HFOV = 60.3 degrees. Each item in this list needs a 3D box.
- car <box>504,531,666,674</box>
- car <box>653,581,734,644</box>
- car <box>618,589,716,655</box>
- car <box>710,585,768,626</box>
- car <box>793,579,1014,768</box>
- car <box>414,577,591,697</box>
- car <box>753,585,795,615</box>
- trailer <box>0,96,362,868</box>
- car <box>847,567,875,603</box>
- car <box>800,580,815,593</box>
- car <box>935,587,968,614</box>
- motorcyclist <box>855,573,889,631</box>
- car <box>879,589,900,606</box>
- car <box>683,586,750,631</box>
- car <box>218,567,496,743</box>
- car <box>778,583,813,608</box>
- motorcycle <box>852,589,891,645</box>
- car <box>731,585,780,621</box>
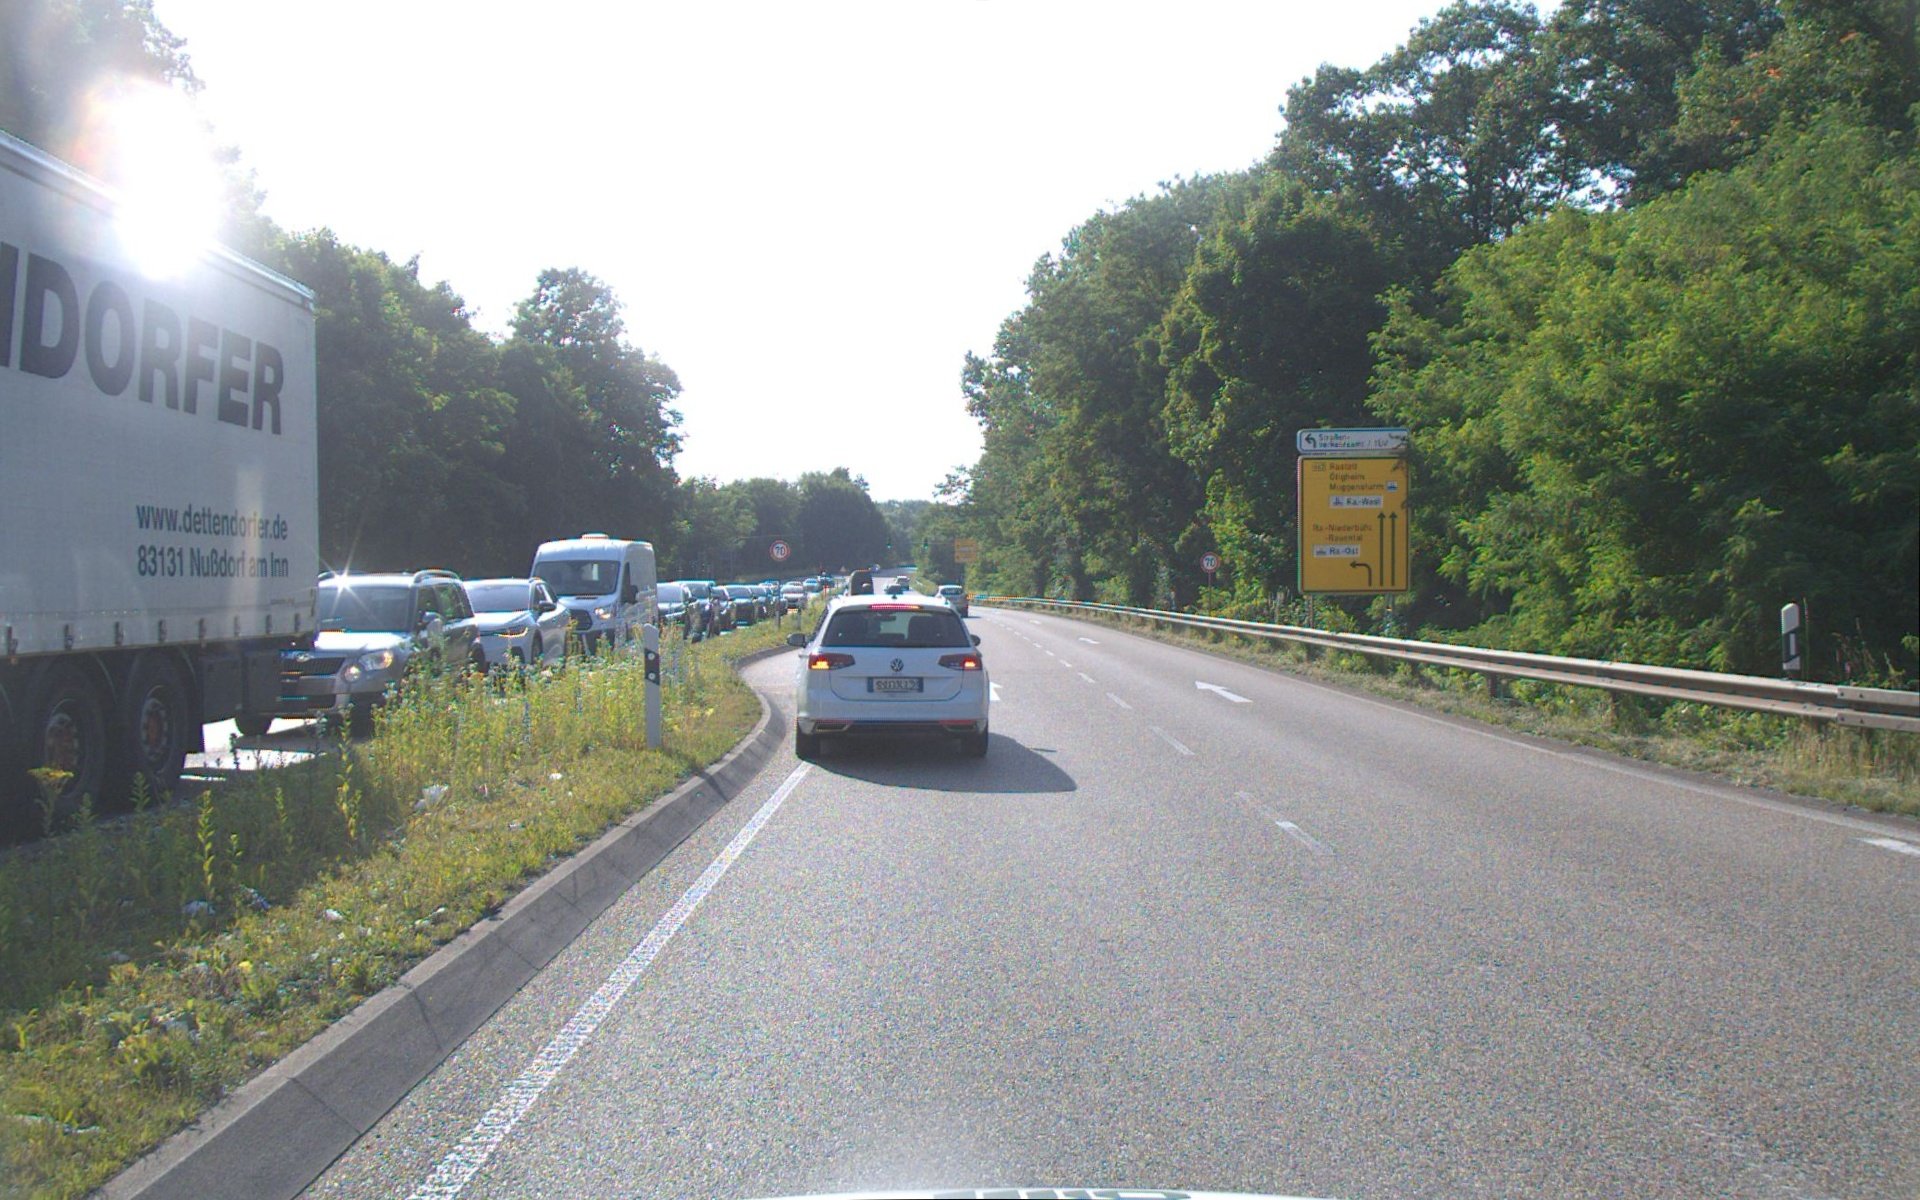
[{"bbox_3d":[-7.425,-0.004,33.437,2.033,2.578,6.161,-1,1,-2],"label":"car"},{"bbox_3d":[-7.807,0.316,48.776,1.735,1.698,4.799,-1,1,-2],"label":"car"},{"bbox_3d":[-7.369,0.509,41.993,1.725,1.482,5.184,-1,1,-2],"label":"car"},{"bbox_3d":[-8.512,0.193,64.052,1.735,1.448,5.191,-1,1,-2],"label":"car"},{"bbox_3d":[-0.623,0.598,16.500,1.833,1.548,4.831,2,1,-4],"label":"car"},{"bbox_3d":[-6.993,0.488,25.743,1.666,1.660,4.744,-1,1,-4],"label":"car"},{"bbox_3d":[-9.296,-0.020,82.945,1.731,1.442,4.432,-1,1,-2],"label":"car"},{"bbox_3d":[-6.476,-0.626,7.738,2.932,4.065,14.005,1,1,-3],"label":"trailer"},{"bbox_3d":[-8.270,-1.279,138.588,2.165,2.939,7.008,-1,1,-2],"label":"car"},{"bbox_3d":[-17.749,-1.563,192.488,1.753,1.436,4.223,1,1,-5],"label":"car"},{"bbox_3d":[-0.499,0.013,90.151,1.725,1.404,3.971,1,1,-1],"label":"car"},{"bbox_3d":[-2.513,0.050,47.511,0.865,1.644,1.290,1,1,0],"label":"motorcyclist"},{"bbox_3d":[-6.767,-0.224,158.790,1.711,1.564,3.921,1,1,-6],"label":"car"},{"bbox_3d":[-8.314,0.258,56.774,1.735,1.403,4.841,-1,1,-2],"label":"car"},{"bbox_3d":[-6.443,0.496,18.191,1.666,1.660,4.368,-1,1,-4],"label":"car"},{"bbox_3d":[-10.108,-0.274,101.624,1.830,1.442,4.414,-1,1,-2],"label":"car"},{"bbox_3d":[-2.520,0.453,47.442,0.890,1.478,2.689,-3,1,0],"label":"motorcycle"},{"bbox_3d":[-8.751,0.094,71.045,1.672,1.448,4.210,-1,1,-2],"label":"car"}]
